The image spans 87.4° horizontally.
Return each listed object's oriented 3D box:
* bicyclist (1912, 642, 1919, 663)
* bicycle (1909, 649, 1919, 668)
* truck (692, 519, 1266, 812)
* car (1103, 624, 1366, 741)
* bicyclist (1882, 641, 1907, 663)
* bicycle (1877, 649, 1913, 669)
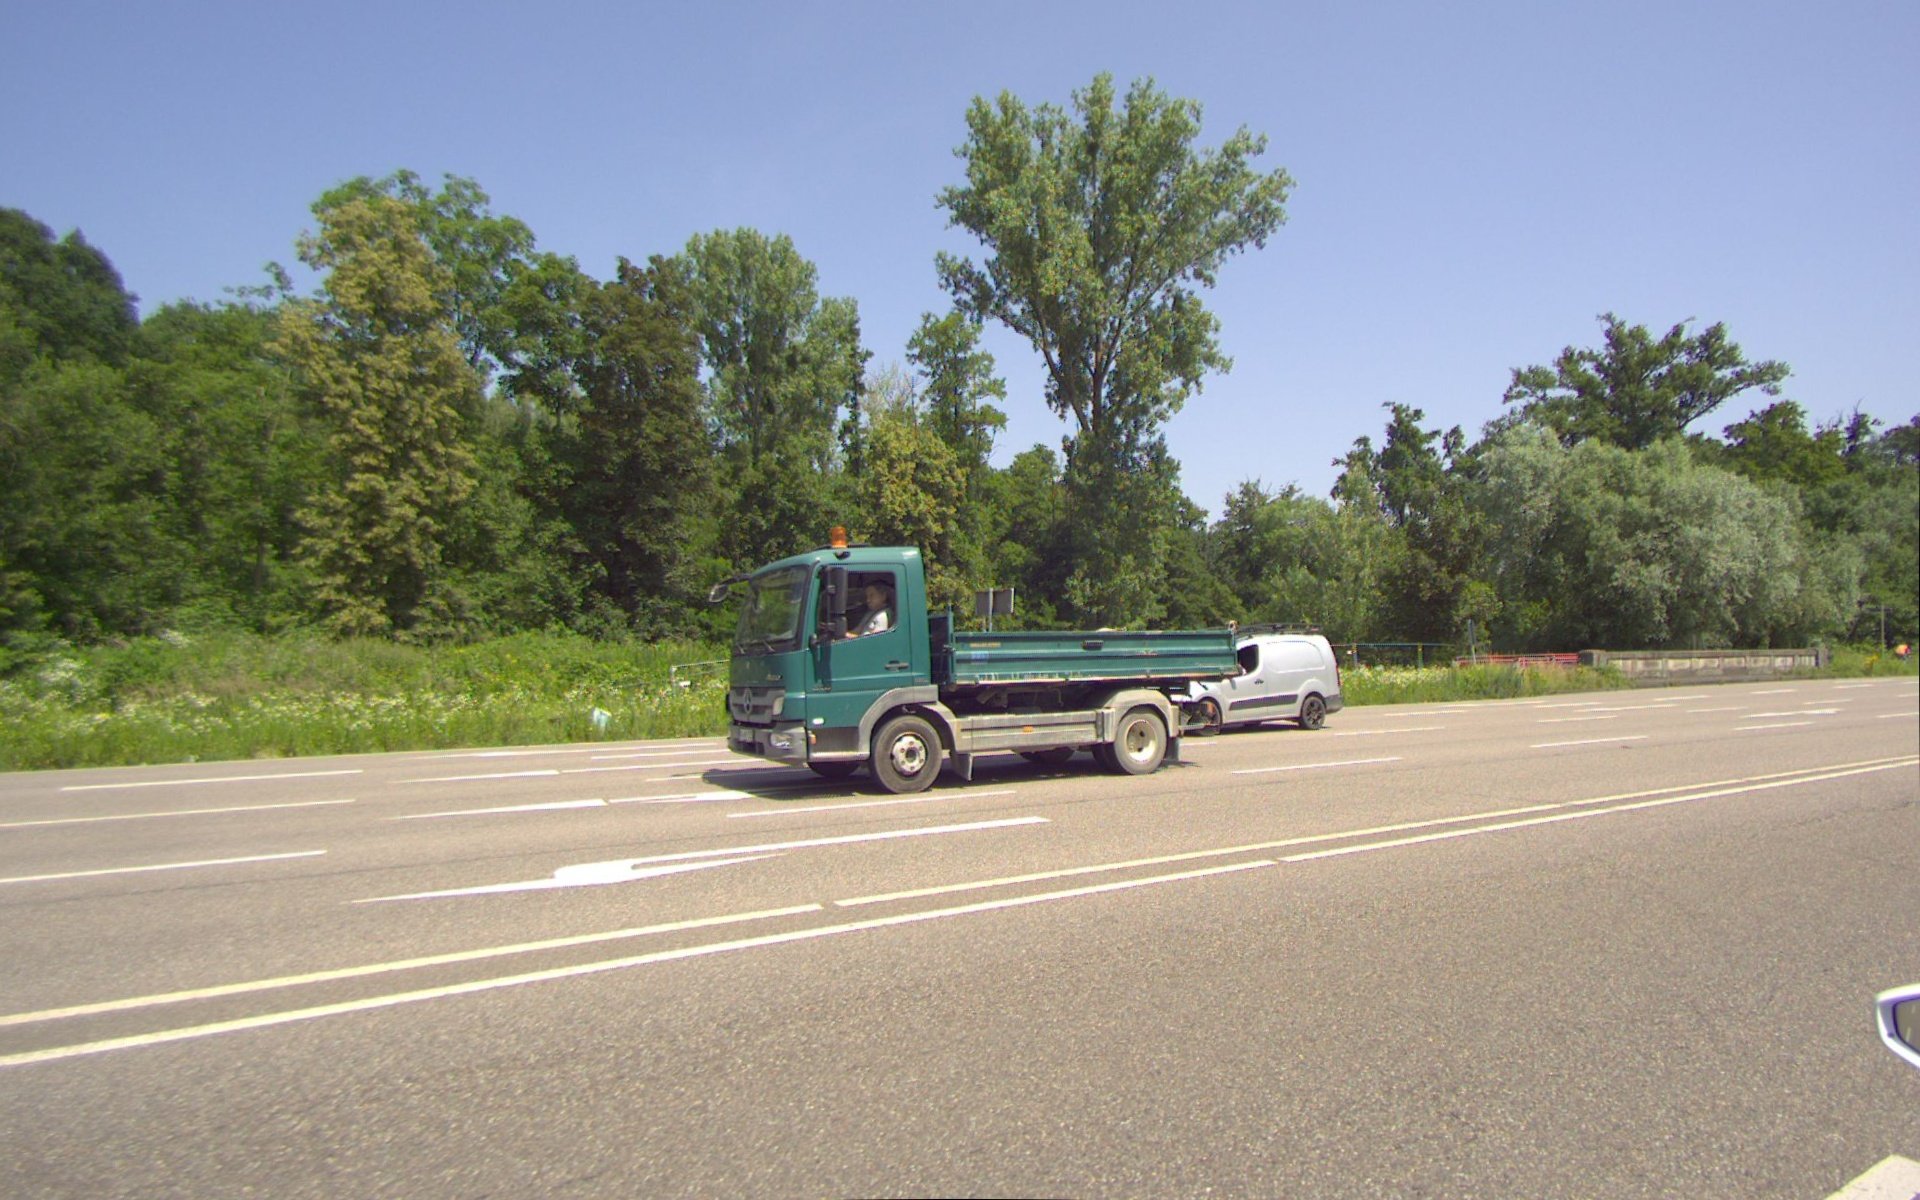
[{"bbox_3d":[54.344,2.967,56.616,0.582,1.211,0.735,1,-3,-18],"label":"bicyclist"},{"bbox_3d":[54.339,3.287,56.593,1.531,1.019,0.604,1,-3,-18],"label":"bicycle"},{"bbox_3d":[0.344,0.726,11.887,6.412,2.690,2.445,1,-5,-29],"label":"truck"},{"bbox_3d":[5.259,1.498,19.136,4.761,1.991,1.986,1,-4,-29],"label":"car"},{"bbox_3d":[51.551,2.889,55.412,0.583,1.211,0.757,0,-3,-19],"label":"bicyclist"},{"bbox_3d":[51.565,3.249,55.394,1.773,1.018,0.675,0,-3,-20],"label":"bicycle"}]
